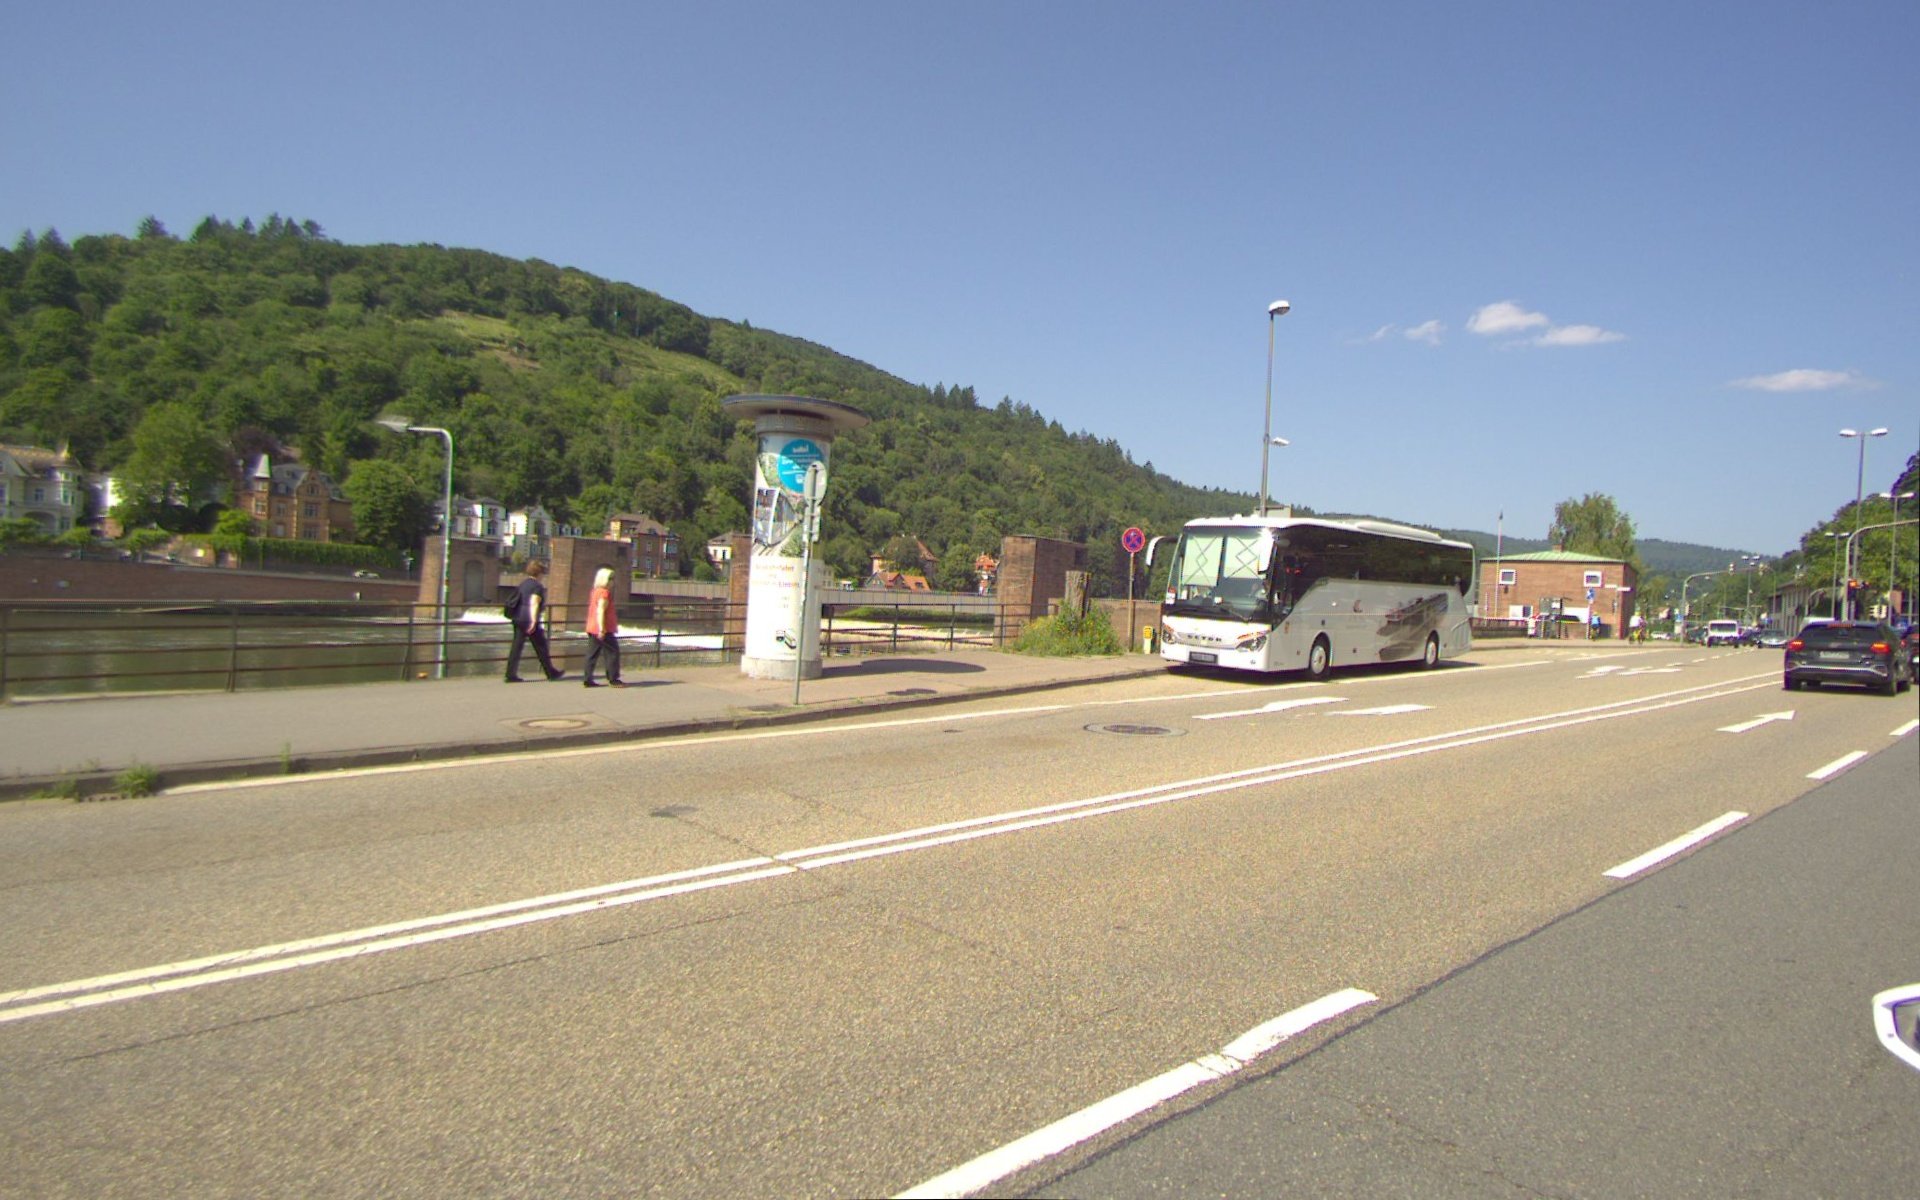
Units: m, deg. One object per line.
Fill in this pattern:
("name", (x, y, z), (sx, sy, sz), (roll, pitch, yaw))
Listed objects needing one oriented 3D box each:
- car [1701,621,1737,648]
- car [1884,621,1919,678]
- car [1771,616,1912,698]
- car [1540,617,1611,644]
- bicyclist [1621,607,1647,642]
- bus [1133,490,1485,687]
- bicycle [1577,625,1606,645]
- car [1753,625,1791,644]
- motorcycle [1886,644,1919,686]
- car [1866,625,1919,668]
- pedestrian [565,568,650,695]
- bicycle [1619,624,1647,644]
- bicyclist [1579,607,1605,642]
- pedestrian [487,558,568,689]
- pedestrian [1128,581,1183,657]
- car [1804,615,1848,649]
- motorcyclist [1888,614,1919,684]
("car", (62.317, 2.803, 82.482), (2.187, 2.106, 5.021), (1, 0, 39))
("car", (28.580, 1.440, 29.485), (3.972, 1.583, 1.849), (1, 0, -43))
("car", (19.337, 1.181, 21.974), (4.121, 1.534, 1.851), (2, 1, -43))
("car", (50.543, 2.478, 82.489), (4.524, 2.040, 2.001), (1, 0, 7))
("bicyclist", (40.461, 1.452, 60.323), (1.197, 2.040, 1.113), (1, 0, 39))
("bus", (9.457, -0.258, 25.380), (2.925, 3.852, 13.162), (6, 4, 44))
("bicycle", (38.019, 2.103, 60.464), (1.197, 1.105, 2.587), (1, 0, 38))
("car", (65.356, 2.737, 80.807), (1.973, 1.451, 4.140), (1, 0, 45))
("motorcycle", (24.067, 1.617, 25.159), (2.585, 0.932, 1.029), (1, 0, -41))
("car", (33.486, 1.617, 35.518), (3.972, 1.377, 1.849), (1, 0, -43))
("pedestrian", (-4.771, 0.414, 13.591), (0.694, 1.643, 0.813), (2, 0, 40))
("bicycle", (40.372, 2.026, 60.249), (1.197, 1.105, 2.587), (1, 0, 38))
("bicyclist", (38.089, 1.462, 60.557), (1.197, 2.040, 1.113), (1, 0, 39))
("pedestrian", (-5.919, 0.308, 13.759), (0.675, 1.732, 0.769), (2, 0, 42))
("pedestrian", (4.833, 0.463, 24.850), (0.883, 1.820, 1.035), (2, 0, 43))
("car", (70.061, 2.553, 81.347), (2.354, 2.611, 6.031), (1, -1, 38))
("motorcyclist", (23.978, 1.209, 25.074), (1.147, 1.707, 1.066), (1, 0, -41))
